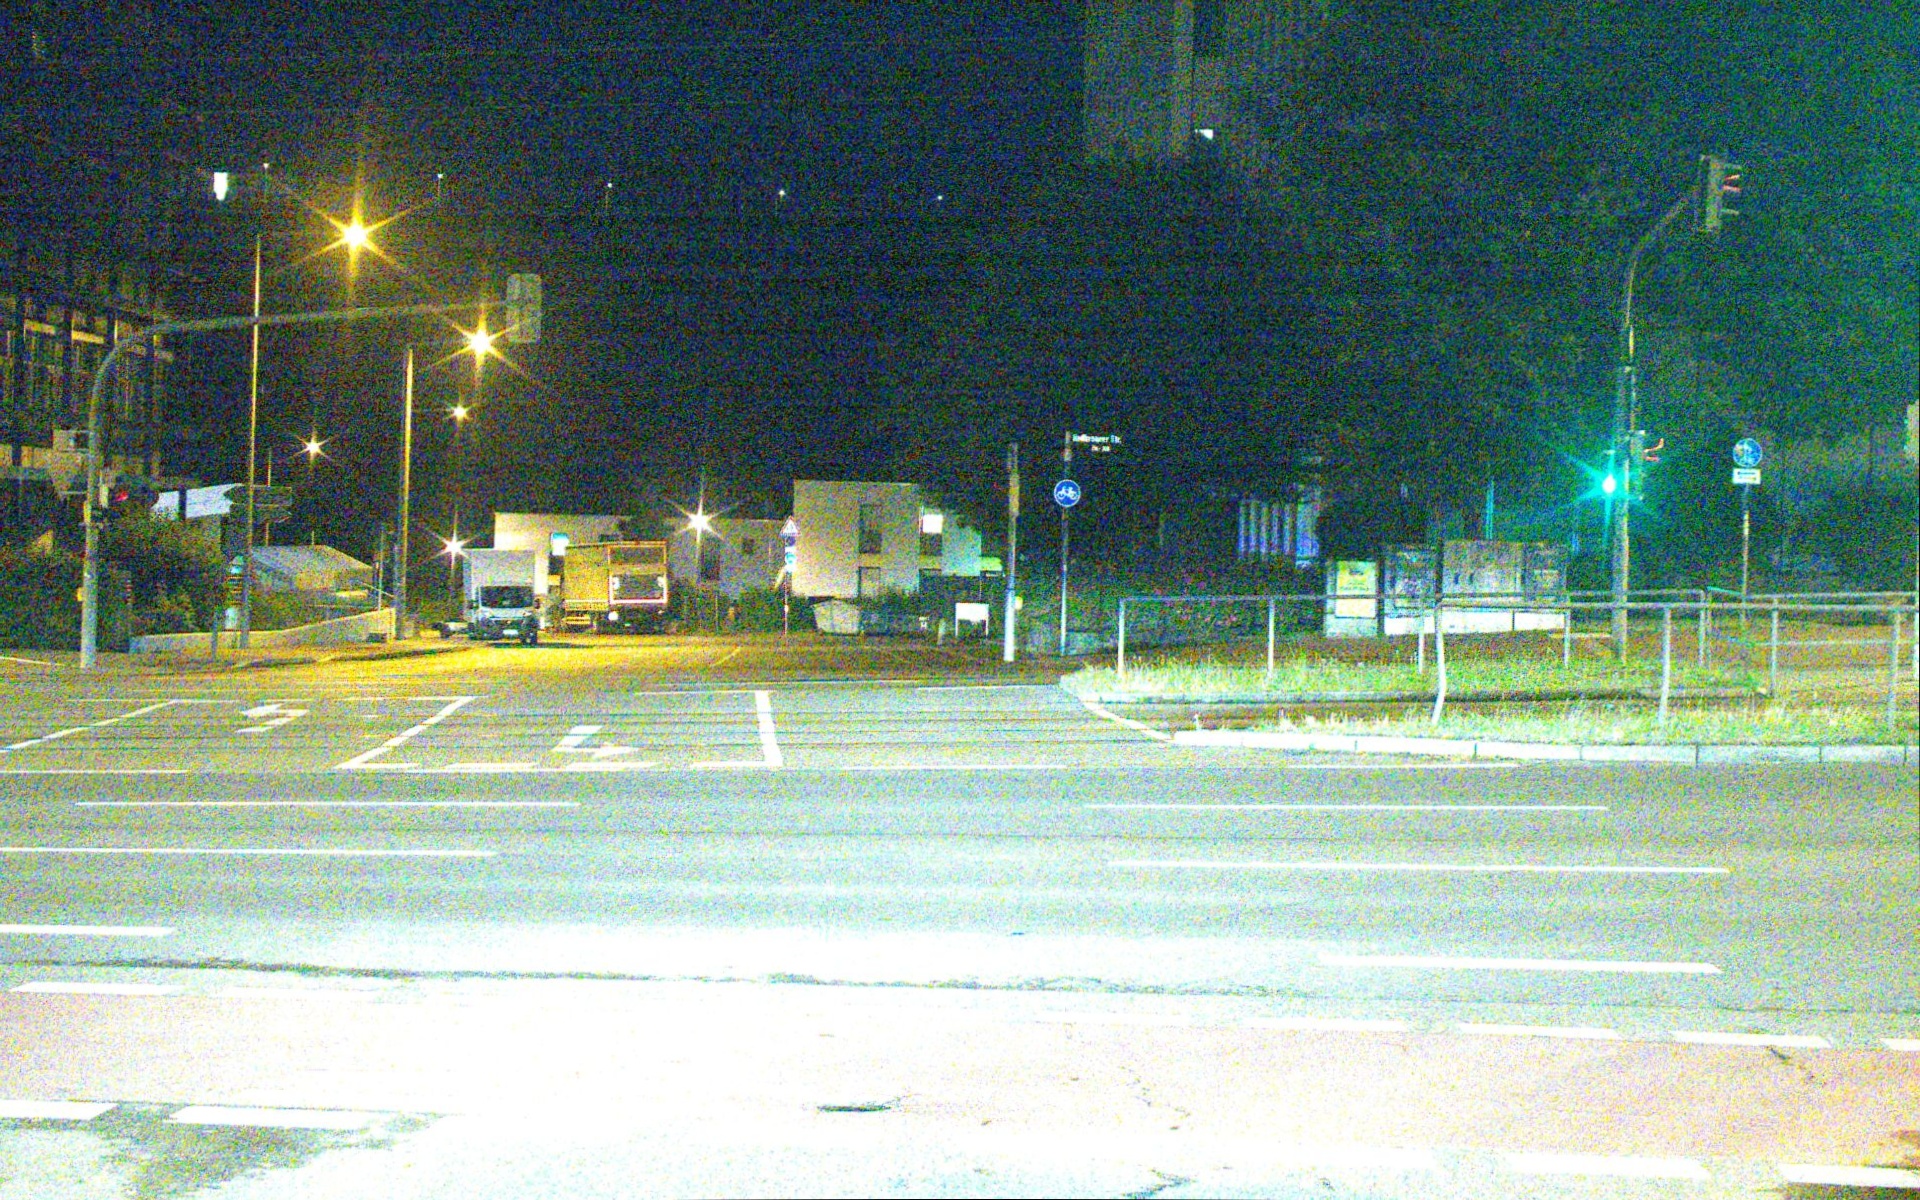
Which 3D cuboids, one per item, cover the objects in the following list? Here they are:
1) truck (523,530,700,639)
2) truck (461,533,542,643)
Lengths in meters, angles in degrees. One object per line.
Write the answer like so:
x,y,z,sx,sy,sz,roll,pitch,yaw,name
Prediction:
-15.417,-0.719,150.928,4.821,4.531,12.669,1,1,-19,truck
-15.908,-0.440,119.076,2.582,3.694,5.739,1,1,-9,truck
